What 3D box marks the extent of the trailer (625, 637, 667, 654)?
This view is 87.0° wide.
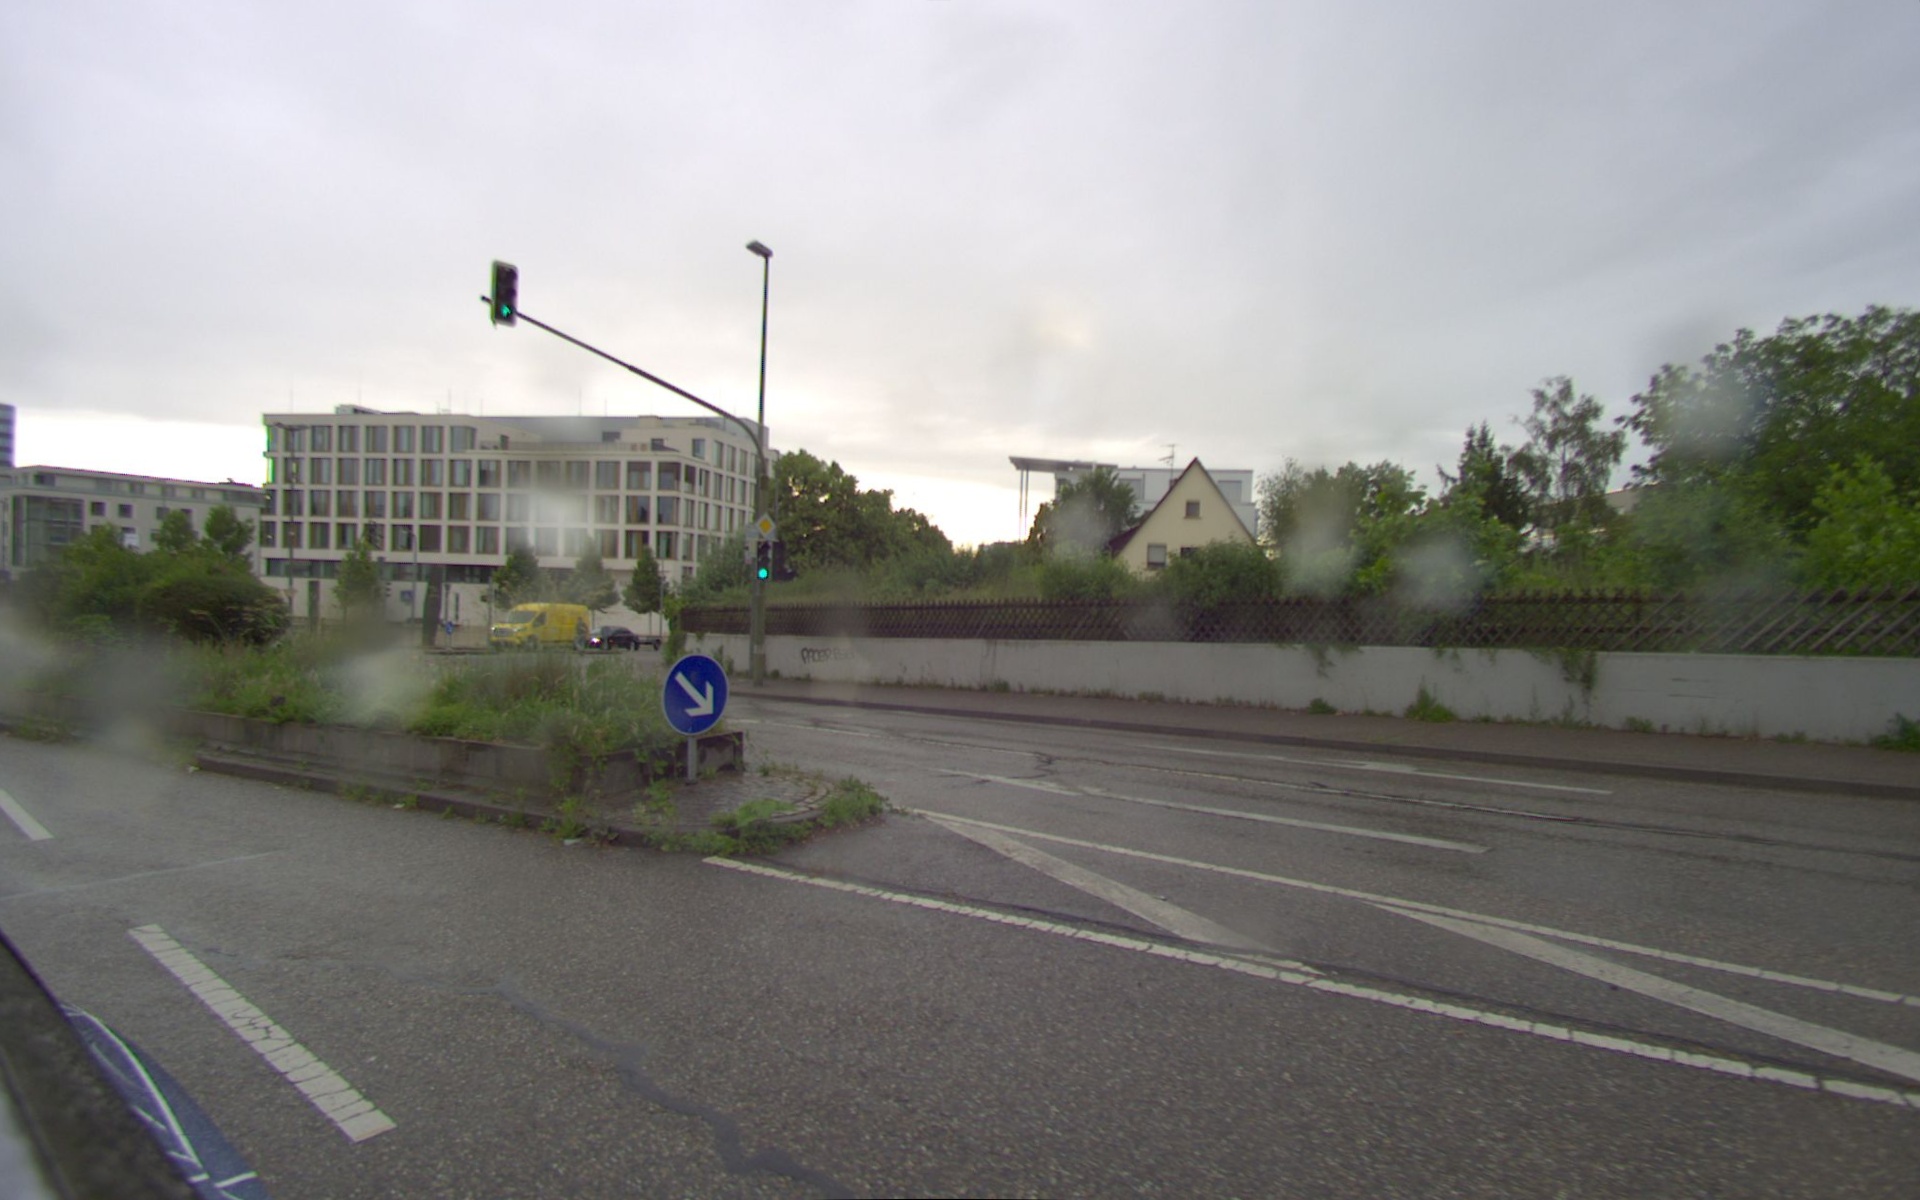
[{"bbox_3d":[-19.603,2.821,63.201,1.591,0.986,2.278,1,-2,10],"label":"trailer"}]

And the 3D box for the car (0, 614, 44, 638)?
[{"bbox_3d":[-61.632,1.695,66.350,4.431,1.424,1.972,0,0,43],"label":"car"}]

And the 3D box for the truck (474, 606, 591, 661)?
[{"bbox_3d":[-21.531,1.707,51.371,2.206,2.557,6.149,1,-2,13],"label":"truck"}]
